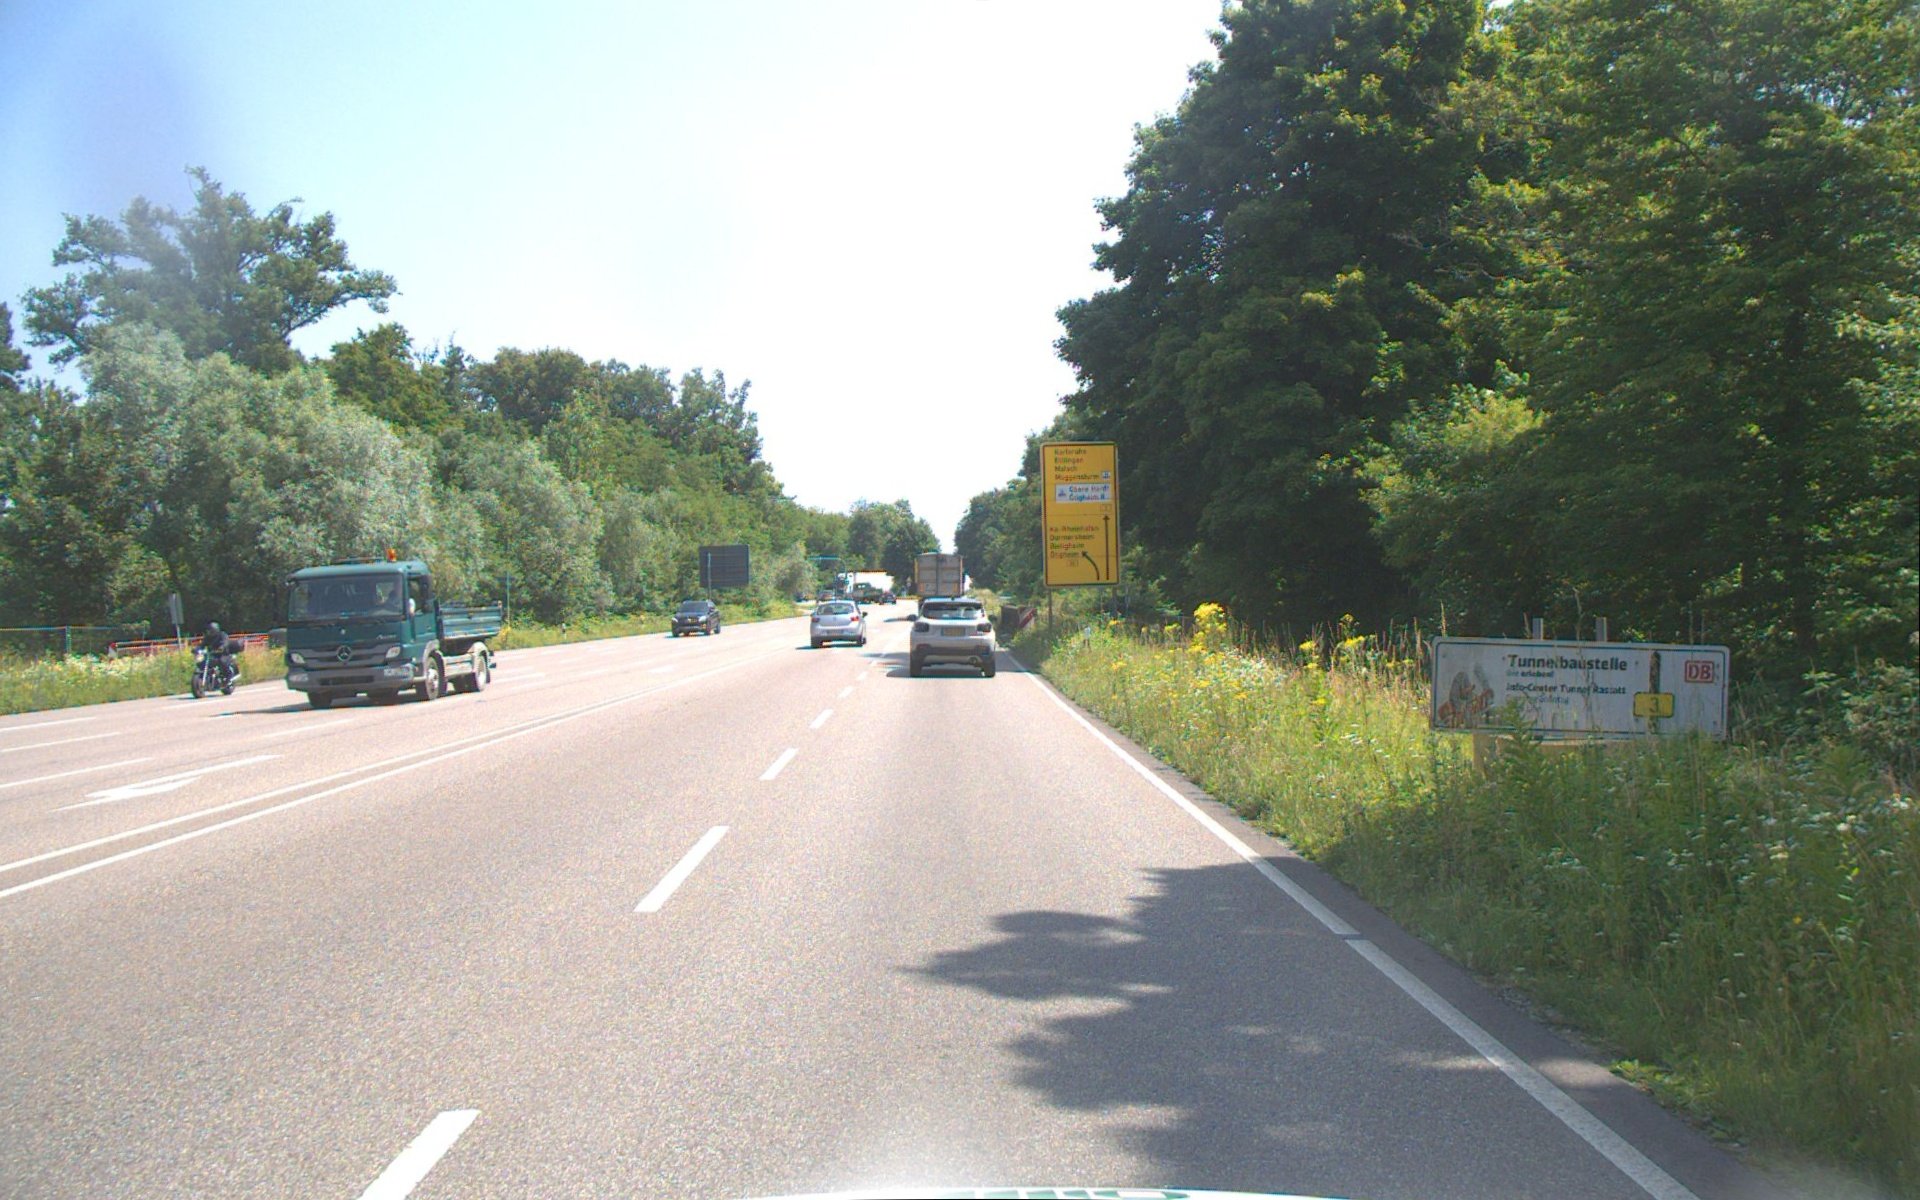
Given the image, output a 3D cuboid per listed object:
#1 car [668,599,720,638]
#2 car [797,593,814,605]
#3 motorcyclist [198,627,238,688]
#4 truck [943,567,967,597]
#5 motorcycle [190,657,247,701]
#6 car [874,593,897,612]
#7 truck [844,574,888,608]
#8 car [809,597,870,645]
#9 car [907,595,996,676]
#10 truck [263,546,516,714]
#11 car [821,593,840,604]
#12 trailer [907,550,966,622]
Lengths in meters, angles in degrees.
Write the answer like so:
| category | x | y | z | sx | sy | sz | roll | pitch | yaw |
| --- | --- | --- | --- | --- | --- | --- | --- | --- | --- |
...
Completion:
| category | x | y | z | sx | sy | sz | roll | pitch | yaw |
| --- | --- | --- | --- | --- | --- | --- | --- | --- | --- |
| car | -13.764 | 0.928 | 85.820 | 1.953 | 1.914 | 4.959 | -2 | 0 | -1 |
| car | -22.724 | -0.128 | 242.634 | 1.960 | 1.613 | 3.985 | 0 | 0 | -14 |
| motorcyclist | -17.258 | 1.334 | 38.457 | 0.566 | 1.377 | 0.754 | -2 | 0 | -3 |
| truck | -0.781 | -2.692 | 248.014 | 3.426 | 4.261 | 10.781 | 0 | 0 | -1 |
| motorcycle | -17.216 | 1.823 | 38.458 | 0.506 | 0.908 | 1.909 | -2 | 0 | -3 |
| car | -8.744 | 0.311 | 193.858 | 1.958 | 2.049 | 4.541 | -2 | 0 | -11 |
| truck | -12.018 | -1.069 | 209.685 | 3.587 | 4.177 | 9.466 | 0 | 0 | -16 |
| car | -3.823 | 0.636 | 52.896 | 1.631 | 1.455 | 3.828 | 0 | 0 | 0 |
| car | -0.155 | 0.692 | 34.495 | 1.731 | 1.561 | 4.000 | -1 | 0 | 0 |
| truck | -10.670 | 0.490 | 31.633 | 2.404 | 2.702 | 6.491 | -4 | 0 | 0 |
| car | -18.129 | -0.205 | 231.090 | 1.960 | 1.613 | 3.985 | 0 | 0 | -14 |
| trailer | -1.324 | -0.754 | 98.960 | 3.313 | 4.058 | 10.803 | 0 | 0 | 0 |
